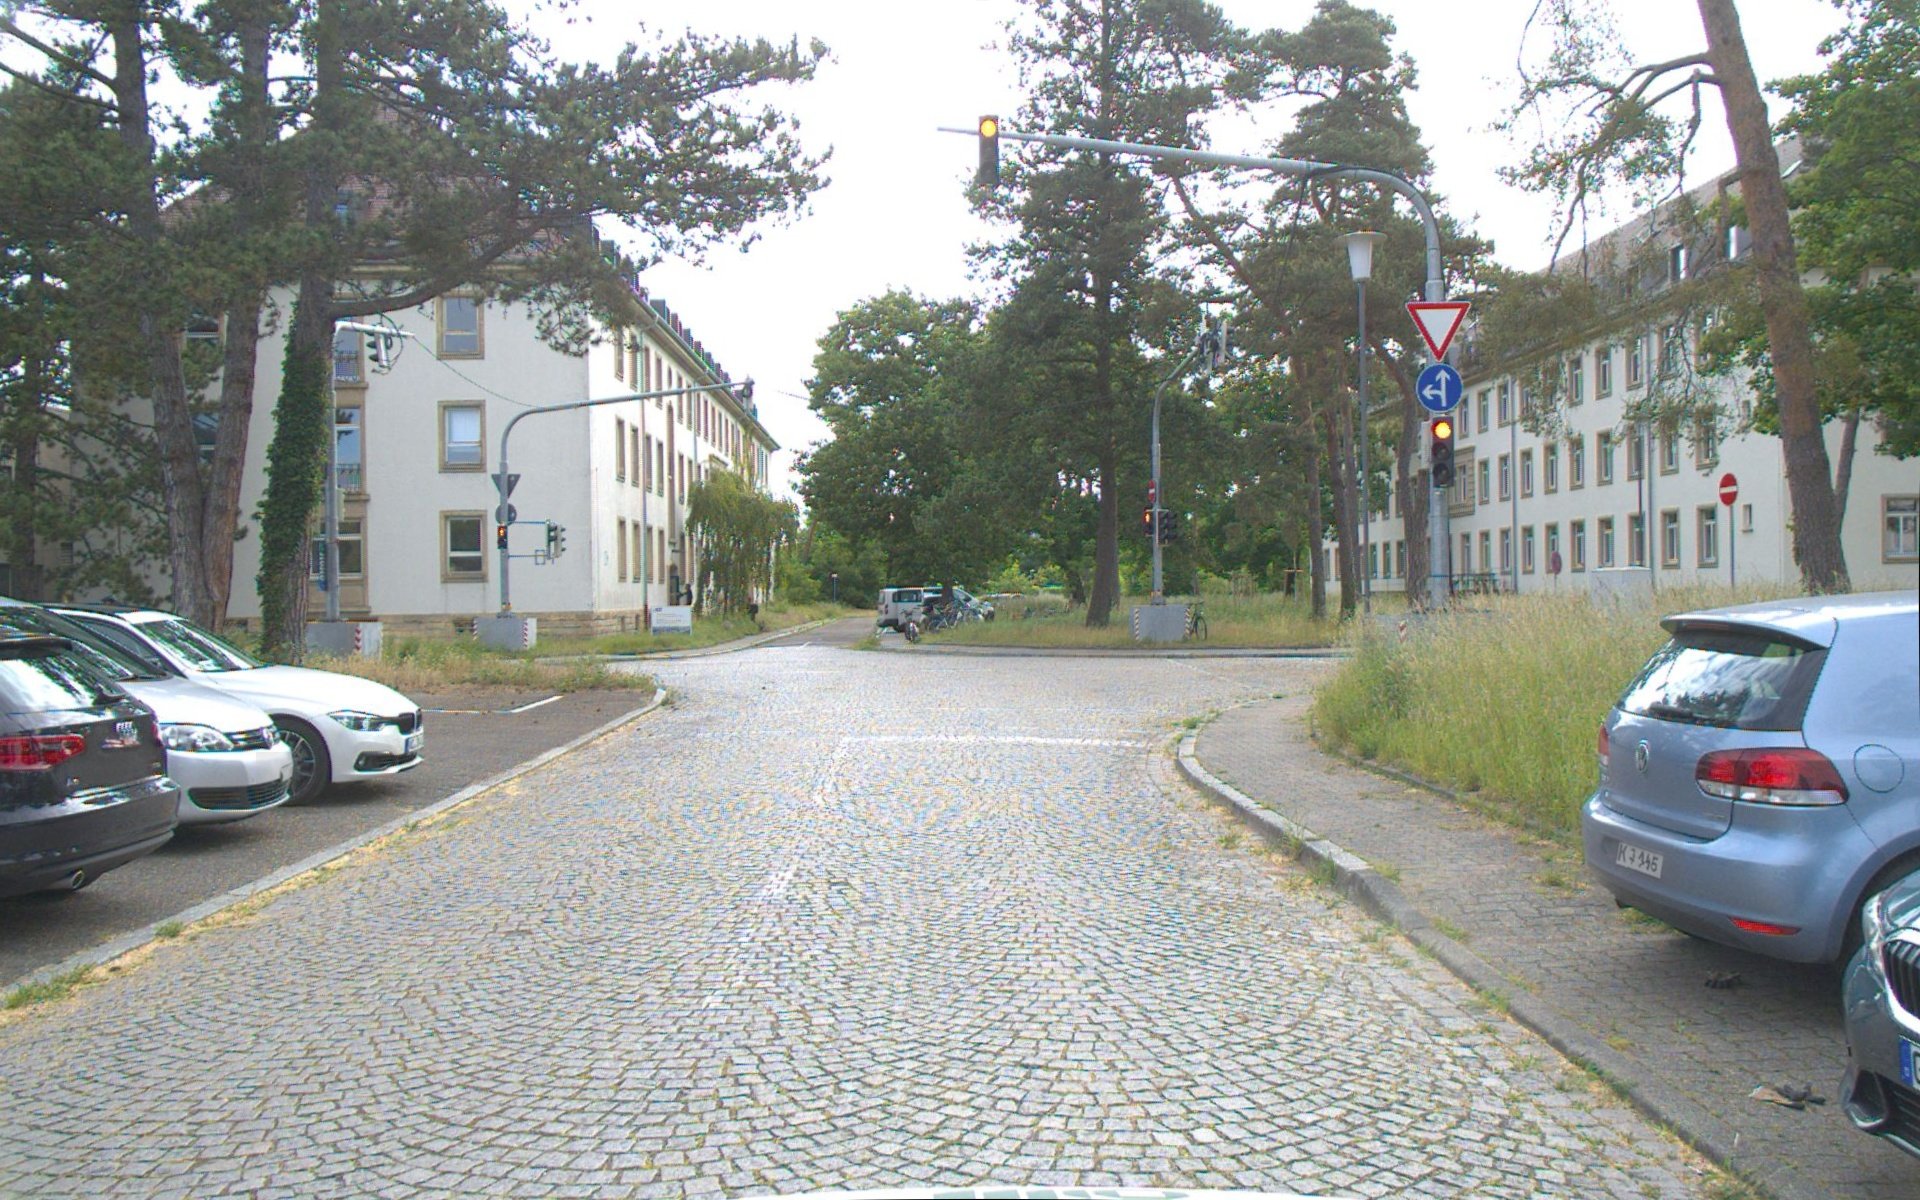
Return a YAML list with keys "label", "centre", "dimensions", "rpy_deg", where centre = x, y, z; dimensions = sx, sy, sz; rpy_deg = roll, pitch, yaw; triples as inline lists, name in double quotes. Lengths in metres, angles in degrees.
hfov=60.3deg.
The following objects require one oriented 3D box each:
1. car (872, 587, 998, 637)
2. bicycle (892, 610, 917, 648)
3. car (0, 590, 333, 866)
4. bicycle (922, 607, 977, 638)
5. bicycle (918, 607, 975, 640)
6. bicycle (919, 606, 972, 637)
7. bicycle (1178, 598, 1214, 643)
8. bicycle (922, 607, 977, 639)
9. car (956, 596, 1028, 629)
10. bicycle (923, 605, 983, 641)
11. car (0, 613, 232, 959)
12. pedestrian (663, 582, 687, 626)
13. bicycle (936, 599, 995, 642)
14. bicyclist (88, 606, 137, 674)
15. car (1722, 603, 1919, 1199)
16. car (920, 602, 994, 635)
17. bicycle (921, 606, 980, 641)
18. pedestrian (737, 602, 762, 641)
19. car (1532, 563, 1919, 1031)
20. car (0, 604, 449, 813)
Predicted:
- label: "car"
  centre: [-1.106, 0.502, 73.101]
  dimensions: [5.265, 1.958, 2.020]
  rpy_deg: [-2, 0, -11]
- label: "bicycle"
  centre: [-1.734, 0.895, 51.795]
  dimensions: [0.591, 1.152, 1.958]
  rpy_deg: [-1, 0, -7]
- label: "car"
  centre: [-6.272, 0.739, 10.576]
  dimensions: [3.870, 1.590, 1.649]
  rpy_deg: [2, 0, -5]
- label: "bicycle"
  centre: [-0.369, 0.804, 59.857]
  dimensions: [1.931, 1.088, 0.583]
  rpy_deg: [-1, 0, -27]
- label: "bicycle"
  centre: [-0.470, 0.818, 57.149]
  dimensions: [1.936, 1.088, 0.582]
  rpy_deg: [-1, 0, -32]
- label: "bicycle"
  centre: [-0.535, 0.806, 62.184]
  dimensions: [1.931, 1.088, 0.583]
  rpy_deg: [-1, 0, -27]
- label: "bicycle"
  centre: [6.147, 0.529, 43.126]
  dimensions: [0.574, 1.125, 1.961]
  rpy_deg: [-1, 0, -2]
- label: "bicycle"
  centre: [-0.357, 0.818, 58.502]
  dimensions: [1.936, 1.088, 0.582]
  rpy_deg: [-1, 0, -32]
- label: "car"
  centre: [1.468, 0.573, 77.062]
  dimensions: [3.168, 1.441, 1.724]
  rpy_deg: [-1, 0, -4]
- label: "bicycle"
  centre: [-0.246, 0.767, 55.039]
  dimensions: [1.918, 1.152, 0.587]
  rpy_deg: [-1, 0, -9]
- label: "car"
  centre: [-5.646, 0.776, 7.809]
  dimensions: [3.672, 1.453, 1.581]
  rpy_deg: [2, 0, -5]
- label: "pedestrian"
  centre: [-12.120, 0.166, 70.412]
  dimensions: [0.767, 1.869, 0.732]
  rpy_deg: [-1, 0, -33]
- label: "bicycle"
  centre: [0.181, 0.701, 56.517]
  dimensions: [1.918, 1.408, 0.587]
  rpy_deg: [-1, 0, -9]
- label: "bicyclist"
  centre: [-18.457, 0.864, 36.023]
  dimensions: [0.734, 1.435, 0.605]
  rpy_deg: [-1, 0, -2]
- label: "car"
  centre: [4.517, 0.643, 3.882]
  dimensions: [4.589, 1.441, 1.869]
  rpy_deg: [-3, 0, -4]
- label: "car"
  centre: [-0.141, 0.767, 69.766]
  dimensions: [2.949, 1.290, 1.533]
  rpy_deg: [-1, 0, -8]
- label: "bicycle"
  centre: [-0.325, 0.792, 55.670]
  dimensions: [1.918, 1.136, 0.587]
  rpy_deg: [-1, 0, -9]
- label: "pedestrian"
  centre: [-8.878, 0.902, 69.653]
  dimensions: [0.758, 1.647, 0.741]
  rpy_deg: [-1, 0, 23]
- label: "car"
  centre: [4.423, 0.581, 6.330]
  dimensions: [3.847, 1.503, 1.642]
  rpy_deg: [-3, 0, 0]
- label: "car"
  centre: [-6.254, 0.811, 13.113]
  dimensions: [3.868, 1.446, 1.649]
  rpy_deg: [2, 0, -2]
